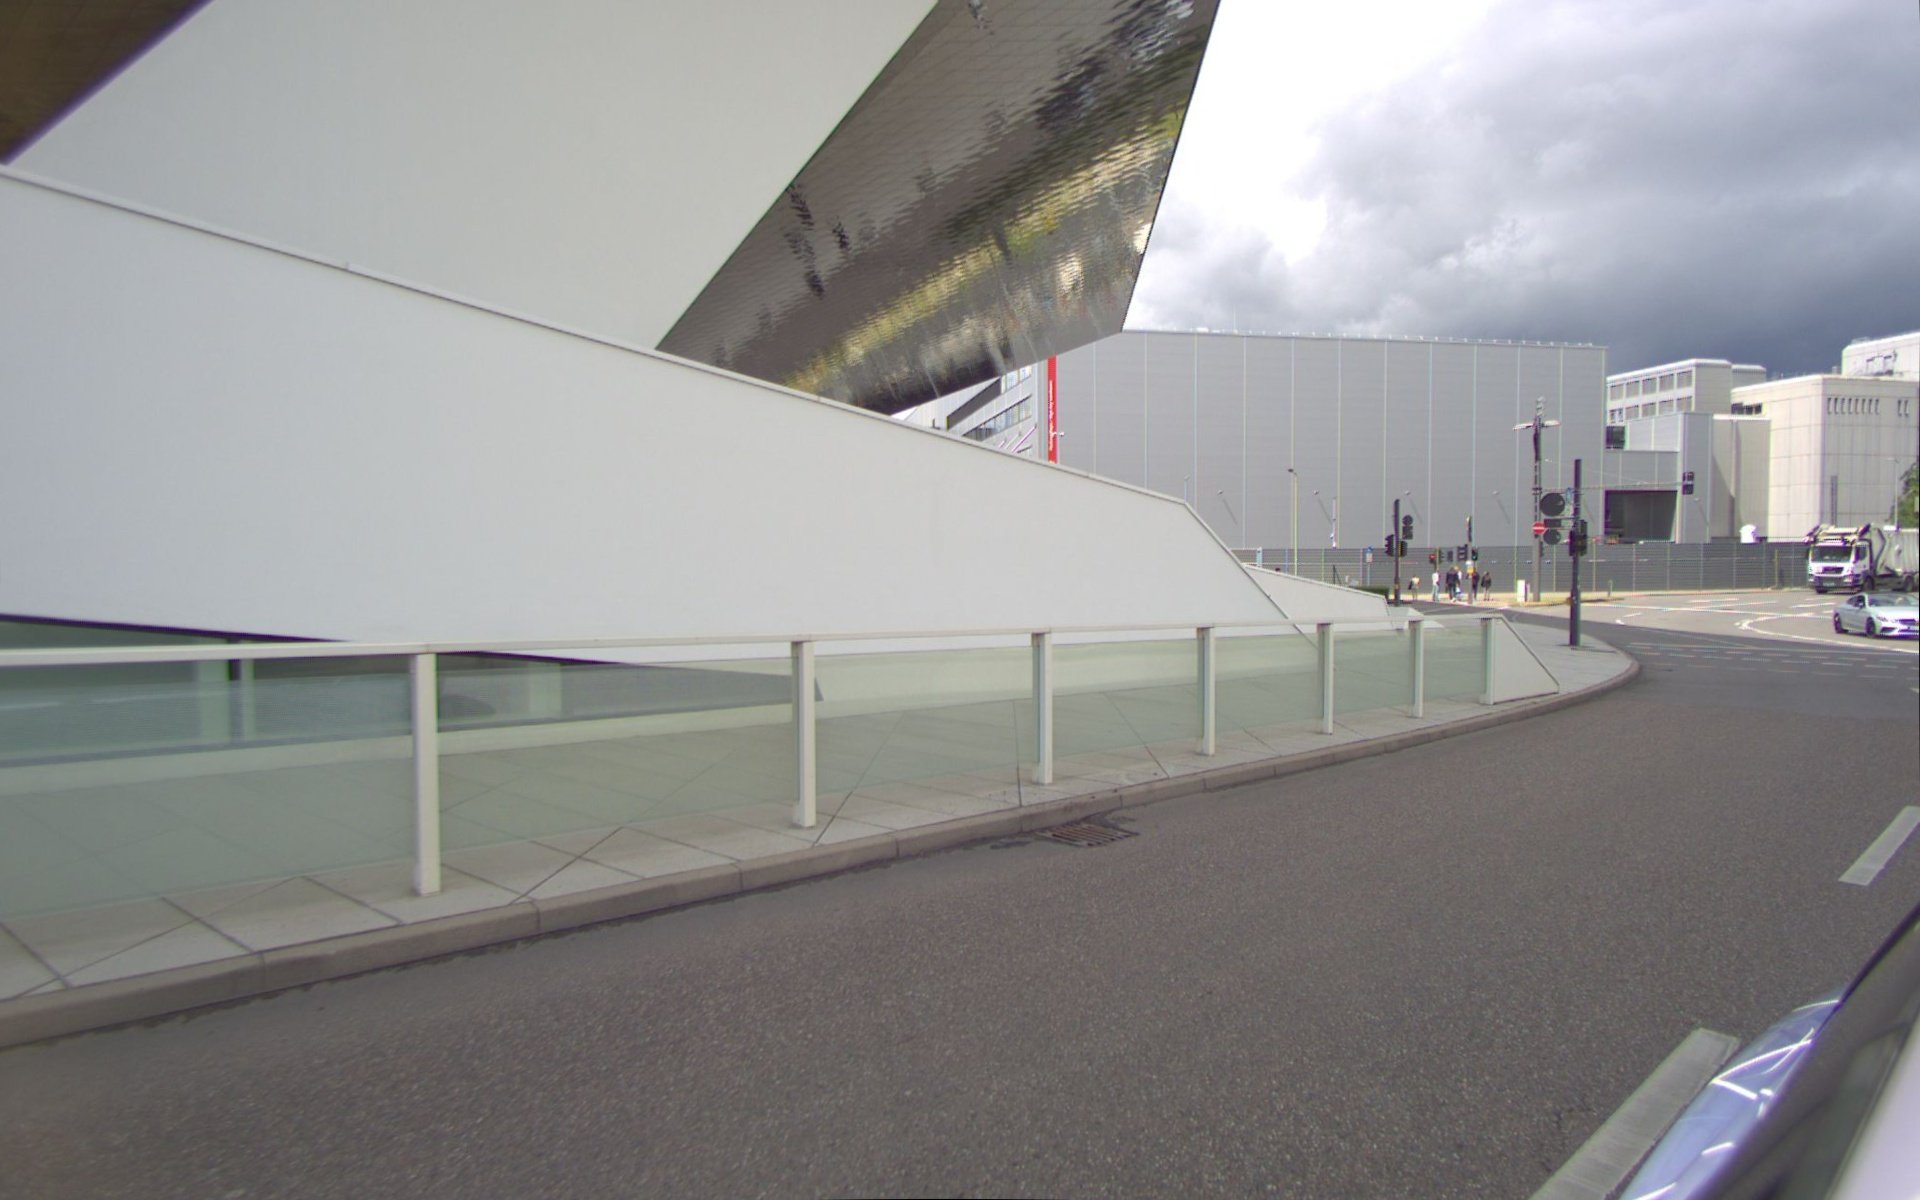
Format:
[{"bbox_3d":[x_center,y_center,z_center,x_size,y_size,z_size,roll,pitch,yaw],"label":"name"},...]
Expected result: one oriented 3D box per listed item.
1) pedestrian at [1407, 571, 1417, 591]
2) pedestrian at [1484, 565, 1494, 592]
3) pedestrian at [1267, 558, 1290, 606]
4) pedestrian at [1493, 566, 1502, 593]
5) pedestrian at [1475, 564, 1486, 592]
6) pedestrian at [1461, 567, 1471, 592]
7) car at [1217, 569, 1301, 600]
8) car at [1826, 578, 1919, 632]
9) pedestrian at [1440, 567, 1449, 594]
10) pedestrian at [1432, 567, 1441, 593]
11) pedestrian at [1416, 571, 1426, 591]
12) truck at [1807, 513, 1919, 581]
[{"bbox_3d":[25.666,-1.078,57.466,0.377,1.158,0.389,1,2,12],"label":"pedestrian"},{"bbox_3d":[29.428,-1.194,56.286,0.354,1.499,0.402,1,2,12],"label":"pedestrian"},{"bbox_3d":[11.984,-0.684,38.104,0.589,1.765,0.560,-1,2,-39],"label":"pedestrian"},{"bbox_3d":[29.856,-1.157,56.222,0.323,1.499,0.359,1,2,10],"label":"pedestrian"},{"bbox_3d":[28.956,-1.217,56.329,0.420,1.572,0.389,1,2,12],"label":"pedestrian"},{"bbox_3d":[28.080,-1.143,56.188,0.377,1.423,0.389,1,2,12],"label":"pedestrian"},{"bbox_3d":[15.614,-0.849,53.034,1.641,1.549,3.998,-1,3,-38],"label":"car"},{"bbox_3d":[29.394,0.112,31.681,2.027,1.504,4.749,1,2,23],"label":"car"},{"bbox_3d":[27.083,-1.085,56.586,0.377,1.475,0.389,1,2,12],"label":"pedestrian"},{"bbox_3d":[26.704,-1.129,56.722,0.377,1.490,0.389,1,2,12],"label":"pedestrian"},{"bbox_3d":[26.118,-1.077,57.335,0.377,1.158,0.389,1,2,12],"label":"pedestrian"},{"bbox_3d":[54.134,-3.022,58.945,10.530,3.735,2.851,-1,2,-24],"label":"truck"}]
